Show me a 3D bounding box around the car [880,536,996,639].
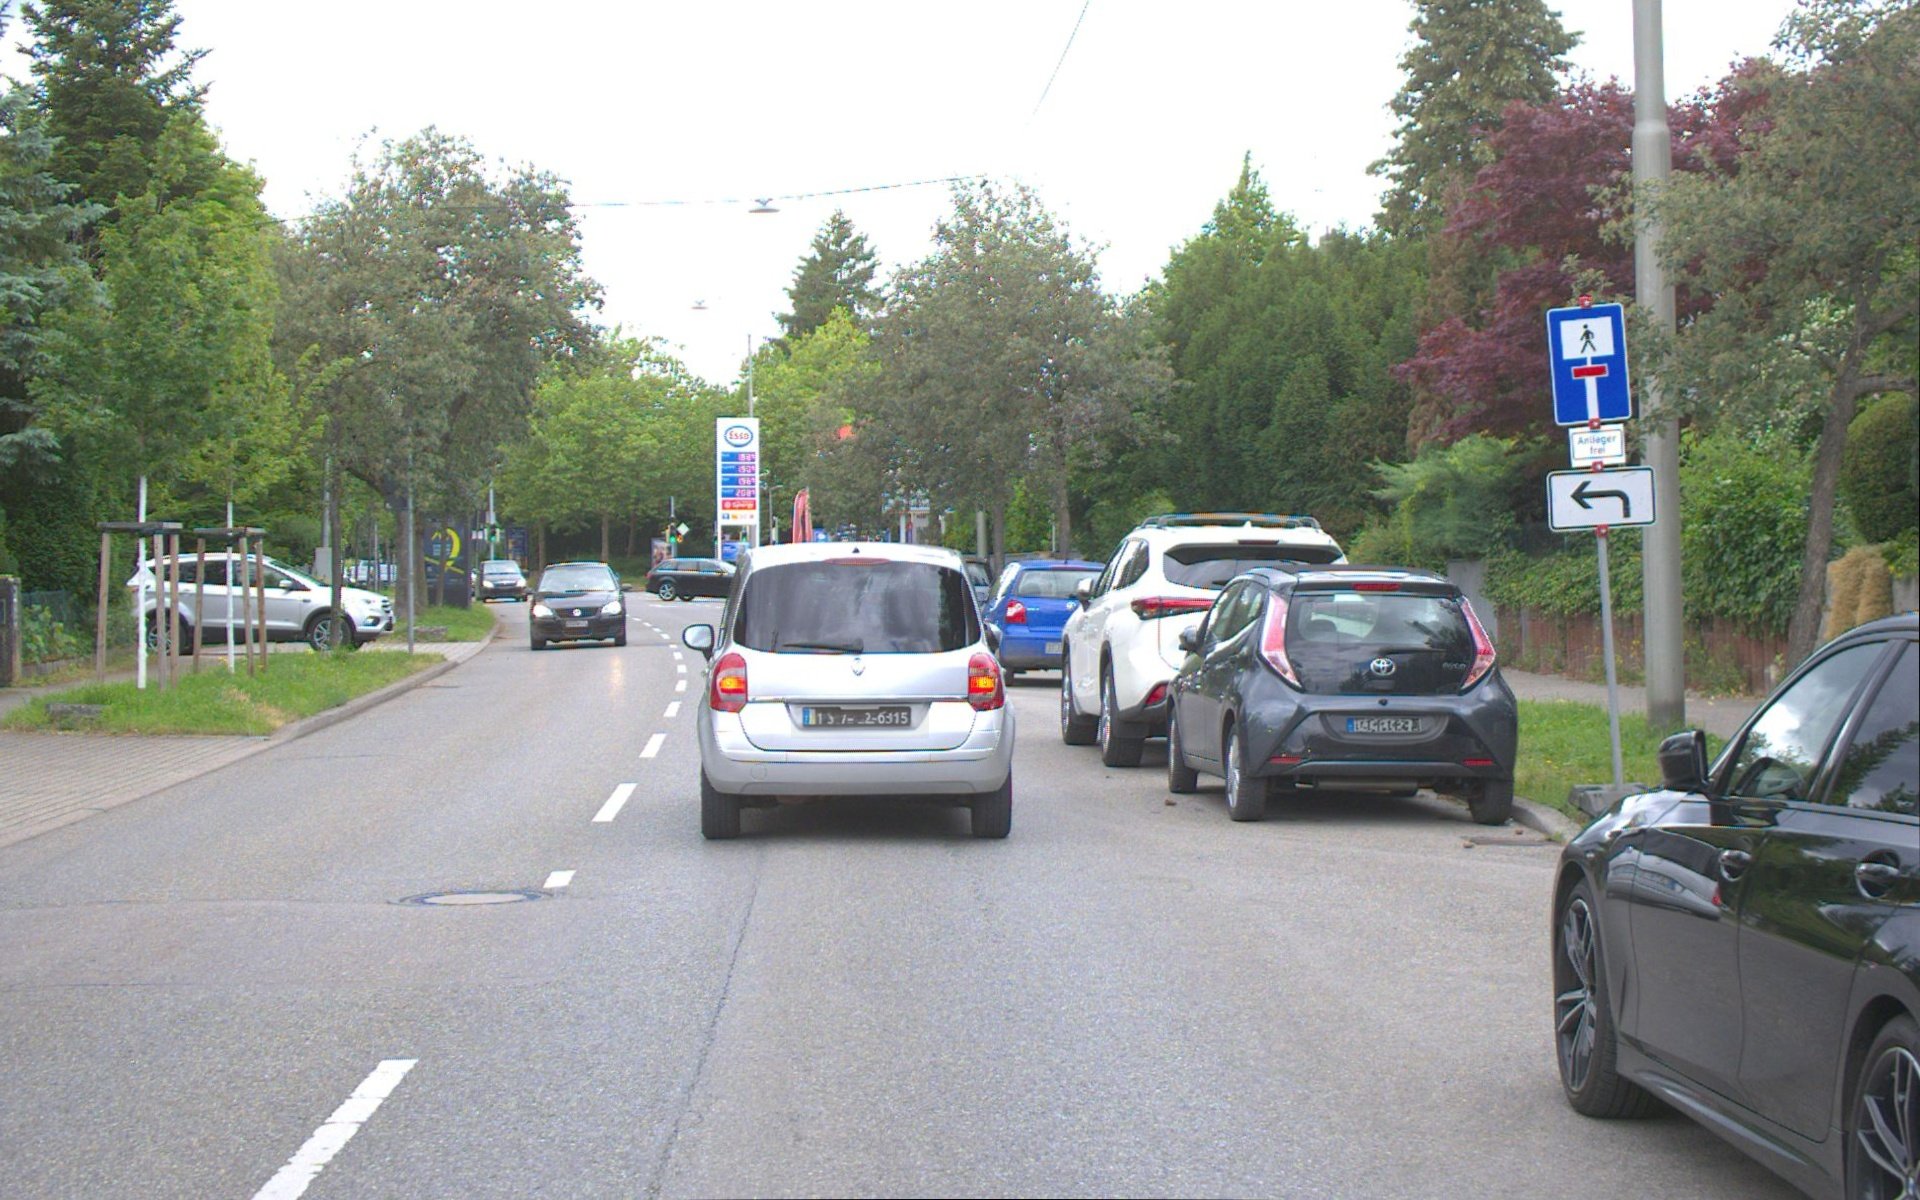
[{"bbox_3d":[-0.396,-0.231,56.555,1.695,1.552,3.956,-1,2,-3],"label":"car"}]

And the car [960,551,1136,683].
[{"bbox_3d":[0.996,0.165,40.871,1.626,1.447,3.876,-2,1,-5],"label":"car"}]

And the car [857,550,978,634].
[{"bbox_3d":[-0.800,-0.166,61.701,1.696,1.428,4.341,-1,1,-7],"label":"car"}]

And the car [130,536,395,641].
[{"bbox_3d":[-11.457,-0.196,56.659,4.086,1.700,1.748,0,1,-3],"label":"car"}]

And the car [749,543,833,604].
[{"bbox_3d":[-4.328,-0.697,87.455,1.695,1.501,3.974,0,1,-9],"label":"car"}]

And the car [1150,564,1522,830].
[{"bbox_3d":[2.180,0.519,20.782,1.558,1.438,3.507,1,1,-5],"label":"car"}]

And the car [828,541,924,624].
[{"bbox_3d":[-1.684,-0.372,67.861,1.695,1.565,3.956,-1,1,-4],"label":"car"}]

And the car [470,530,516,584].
[{"bbox_3d":[-20.943,-1.938,154.070,1.934,2.400,4.001,0,1,-9],"label":"car"}]

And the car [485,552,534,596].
[{"bbox_3d":[-15.892,-0.925,121.252,1.544,1.465,3.743,-2,1,-10],"label":"car"}]

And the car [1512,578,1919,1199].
[{"bbox_3d":[2.589,0.719,7.646,1.830,1.452,4.550,1,1,-2],"label":"car"}]

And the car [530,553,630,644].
[{"bbox_3d":[-6.602,-0.045,59.961,1.574,1.467,3.471,-3,1,-5],"label":"car"}]

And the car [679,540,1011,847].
[{"bbox_3d":[-0.626,0.456,19.228,1.679,1.554,3.512,0,1,-1],"label":"car"}]

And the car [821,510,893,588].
[{"bbox_3d":[-3.994,-1.975,132.932,2.281,2.901,5.280,1,1,-7],"label":"car"}]

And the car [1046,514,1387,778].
[{"bbox_3d":[1.803,0.279,25.725,1.799,1.772,4.706,1,1,-5],"label":"car"}]
